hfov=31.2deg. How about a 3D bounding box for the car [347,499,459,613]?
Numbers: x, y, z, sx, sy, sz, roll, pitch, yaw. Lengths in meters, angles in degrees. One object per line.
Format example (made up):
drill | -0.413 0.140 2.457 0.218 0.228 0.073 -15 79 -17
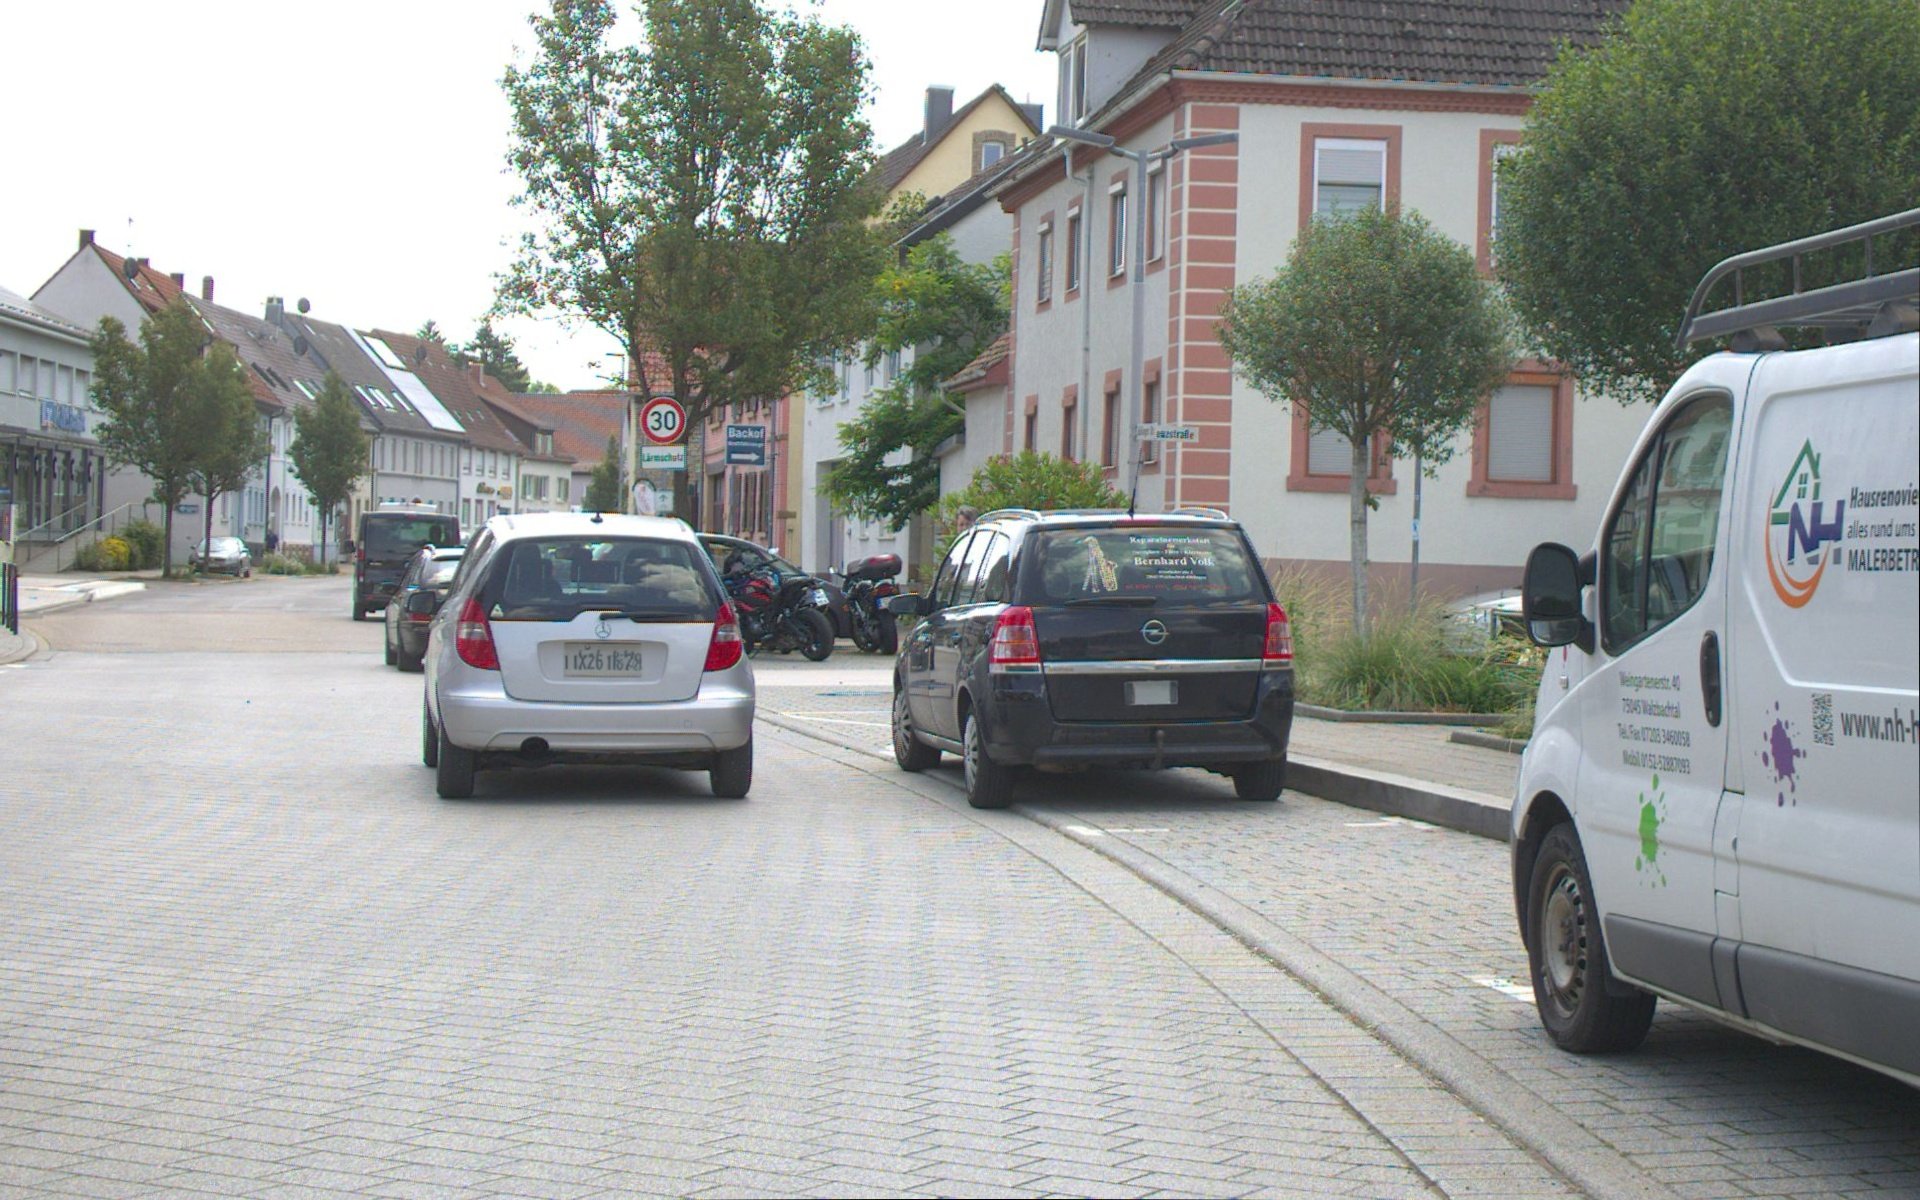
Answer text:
car | -10.121 -0.796 62.711 1.768 1.881 4.448 4 0 -8

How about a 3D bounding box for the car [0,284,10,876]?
car | -3.617 0.170 7.834 1.887 2.178 5.031 1 1 -5

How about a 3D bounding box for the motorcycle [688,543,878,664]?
motorcycle | -2.187 0.028 42.366 2.223 1.390 0.871 3 2 34

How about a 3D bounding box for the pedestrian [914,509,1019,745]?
pedestrian | 0.041 0.183 24.065 0.638 1.623 0.620 1 1 -6

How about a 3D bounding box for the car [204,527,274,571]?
car | -25.250 -1.779 120.500 1.804 1.455 4.159 2 1 -4

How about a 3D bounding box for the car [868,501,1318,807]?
car | 0.639 0.246 19.962 1.768 1.559 4.419 1 1 -9

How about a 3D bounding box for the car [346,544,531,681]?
car | -5.902 0.105 39.076 1.944 1.402 4.001 1 1 -8

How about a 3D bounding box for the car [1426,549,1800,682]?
car | 7.701 0.166 40.769 3.992 1.468 1.825 1 1 -4

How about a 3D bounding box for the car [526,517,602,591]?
car | -10.971 -1.278 95.003 1.891 1.975 4.932 -1 1 -9

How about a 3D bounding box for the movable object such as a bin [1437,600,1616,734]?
movable object such as a bin | 3.926 0.457 23.923 0.734 0.863 1.436 2 1 -12

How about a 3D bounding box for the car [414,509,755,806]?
car | -2.330 0.266 20.491 1.768 1.589 4.001 0 1 -10

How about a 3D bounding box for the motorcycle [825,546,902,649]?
motorcycle | -1.250 -0.051 44.718 0.959 1.294 2.226 0 1 -1

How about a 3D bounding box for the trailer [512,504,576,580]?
trailer | -13.297 -1.861 109.674 1.844 2.346 3.590 1 1 -9

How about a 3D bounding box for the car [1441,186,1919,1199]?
car | 2.783 0.222 7.928 1.942 2.170 5.102 -1 1 -8

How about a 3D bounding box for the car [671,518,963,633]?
car | -2.039 -0.363 48.490 3.847 1.572 1.851 0 1 -12

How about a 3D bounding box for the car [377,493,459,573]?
car | -15.578 -1.904 98.996 2.235 2.215 4.001 1 0 -8
